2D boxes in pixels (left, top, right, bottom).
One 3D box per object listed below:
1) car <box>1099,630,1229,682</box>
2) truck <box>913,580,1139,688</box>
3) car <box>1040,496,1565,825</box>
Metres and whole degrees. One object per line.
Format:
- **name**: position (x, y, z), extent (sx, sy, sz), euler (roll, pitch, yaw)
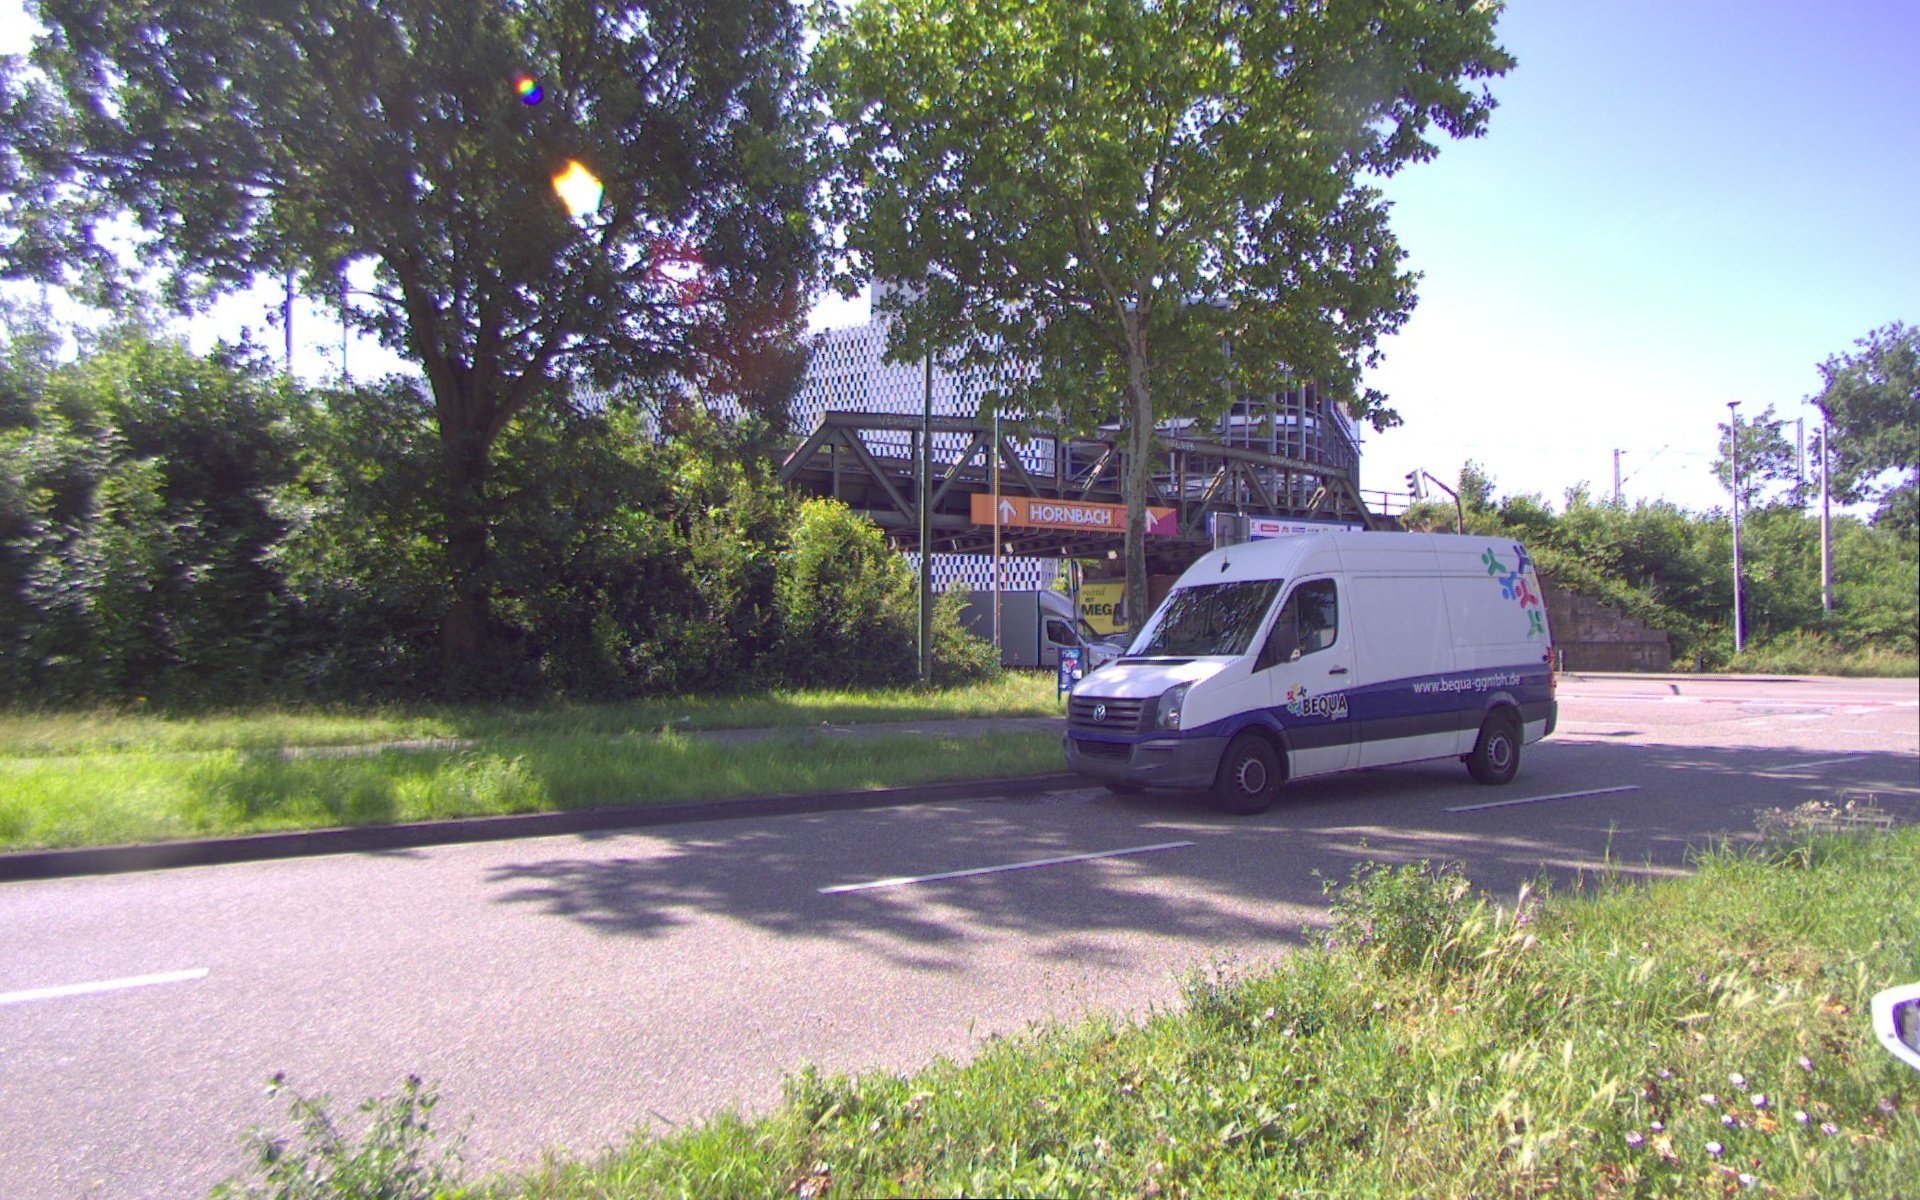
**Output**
- **car**: position (6.946, 1.890, 34.214), extent (3.926, 1.668, 1.902), euler (-2, -2, 27)
- **truck**: position (2.017, 1.116, 31.718), extent (6.739, 3.146, 2.216), euler (-2, -2, 27)
- **car**: position (3.749, 0.593, 10.571), extent (5.719, 2.697, 1.984), euler (2, -3, -30)
